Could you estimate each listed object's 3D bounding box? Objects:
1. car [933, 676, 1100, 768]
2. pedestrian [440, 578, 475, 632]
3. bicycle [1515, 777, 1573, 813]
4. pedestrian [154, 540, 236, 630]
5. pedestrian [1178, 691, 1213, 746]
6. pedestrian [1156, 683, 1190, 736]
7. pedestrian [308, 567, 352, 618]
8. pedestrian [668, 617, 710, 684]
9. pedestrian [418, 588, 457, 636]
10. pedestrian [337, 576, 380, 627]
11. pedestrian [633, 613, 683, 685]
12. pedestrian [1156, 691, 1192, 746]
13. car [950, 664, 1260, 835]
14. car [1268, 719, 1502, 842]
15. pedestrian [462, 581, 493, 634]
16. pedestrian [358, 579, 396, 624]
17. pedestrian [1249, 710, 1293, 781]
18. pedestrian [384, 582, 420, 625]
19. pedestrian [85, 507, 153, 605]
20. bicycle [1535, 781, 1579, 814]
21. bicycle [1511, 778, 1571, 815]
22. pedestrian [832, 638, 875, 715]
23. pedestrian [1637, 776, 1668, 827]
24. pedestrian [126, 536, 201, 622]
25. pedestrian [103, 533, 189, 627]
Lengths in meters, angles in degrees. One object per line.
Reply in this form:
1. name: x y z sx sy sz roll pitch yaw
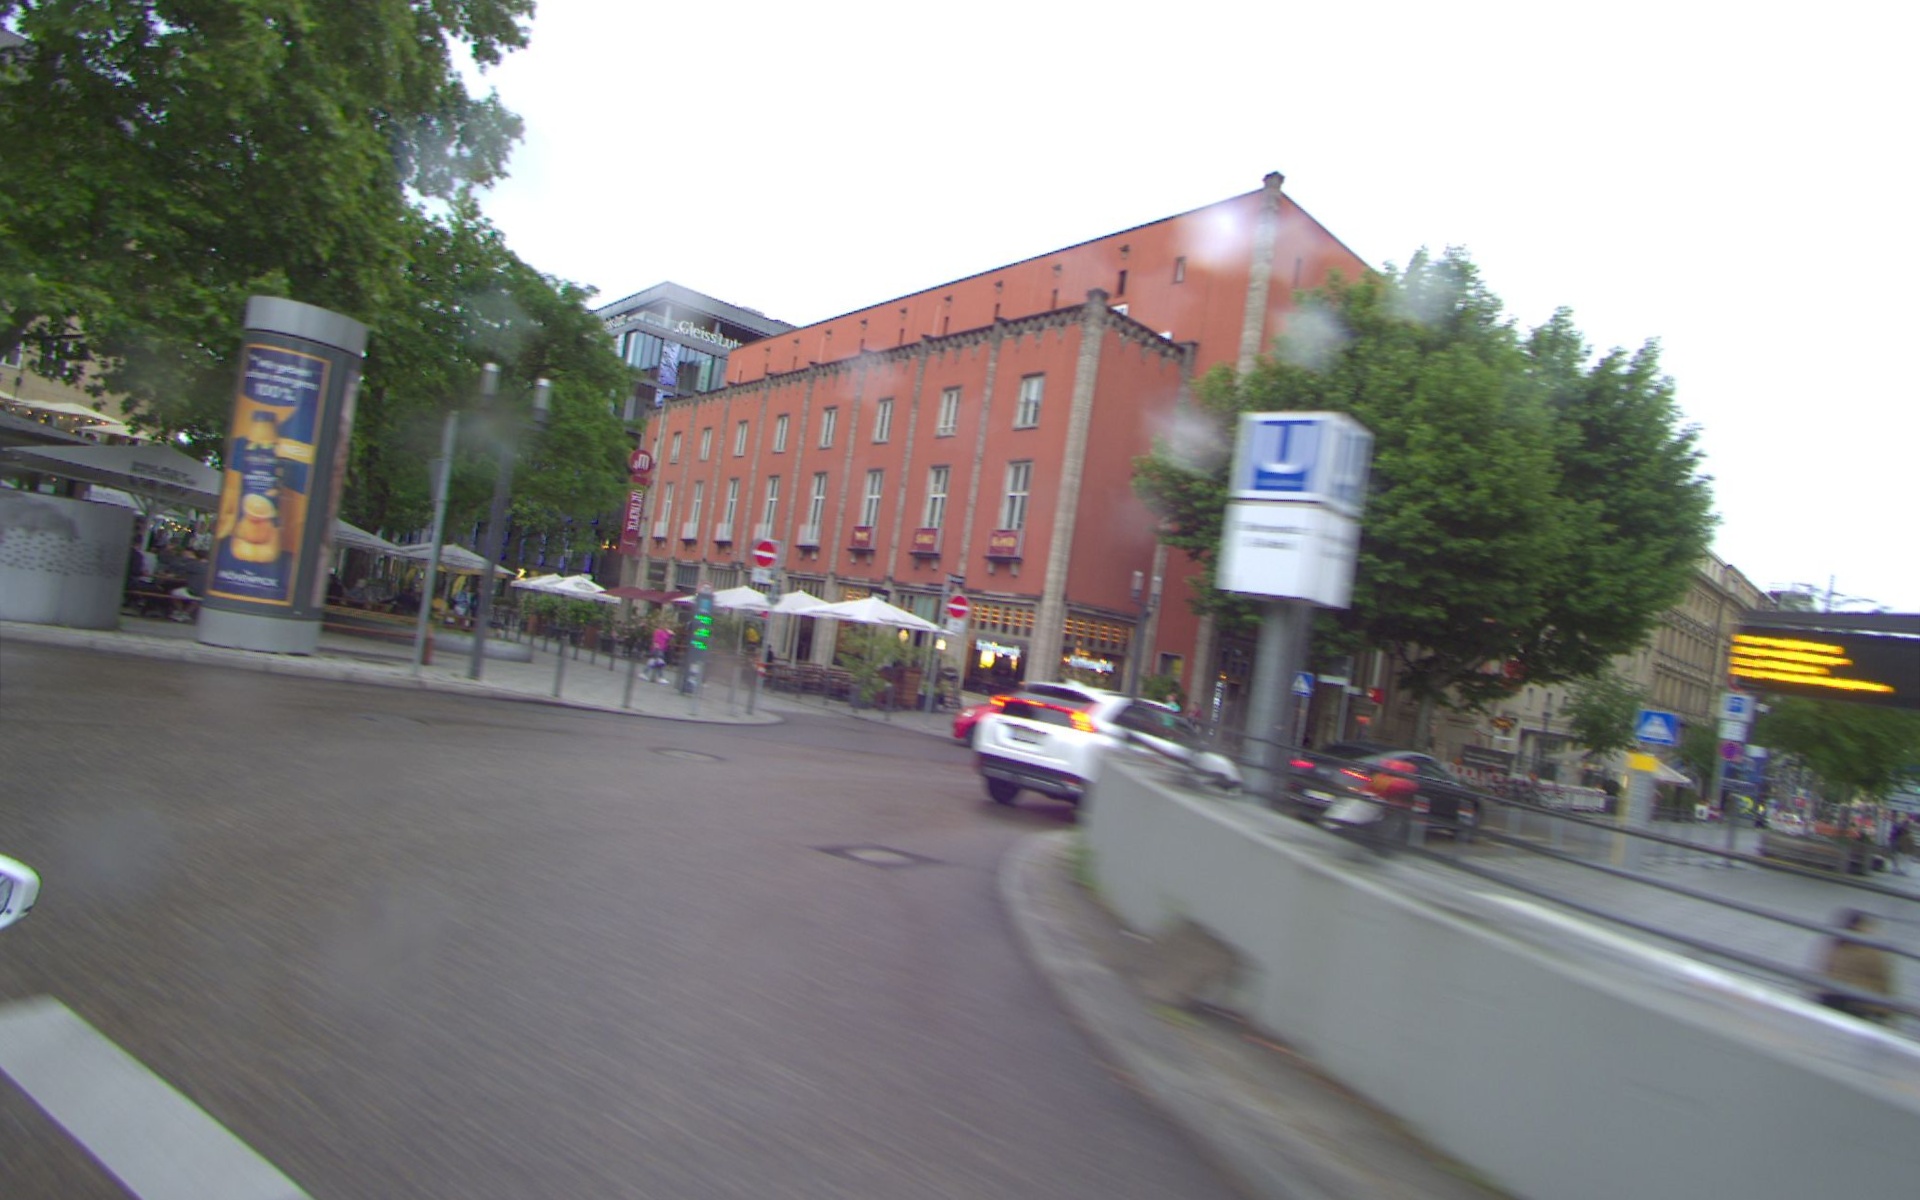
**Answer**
1. car: 1.294 2.709 22.631 3.462 1.431 1.617 9 -3 6
2. pedestrian: -18.369 0.183 36.809 0.744 1.851 0.602 11 -5 -42
3. bicycle: 22.053 7.367 37.988 0.520 0.995 1.735 11 -3 -43
4. pedestrian: -13.505 -0.266 17.761 0.890 1.424 0.687 6 -4 32
5. pedestrian: 7.512 3.788 32.064 0.602 1.614 0.751 6 -3 42
6. pedestrian: 6.890 3.545 32.548 0.602 1.614 0.751 6 -3 42
7. pedestrian: -17.313 -0.206 27.647 0.599 1.263 0.630 6 -4 31
8. pedestrian: -7.789 1.457 28.902 0.735 1.799 0.591 7 -3 38
9. pedestrian: -15.214 0.346 29.295 0.599 1.263 0.630 6 -4 31
10. pedestrian: -16.441 0.043 27.495 0.599 1.263 0.630 6 -4 31
11. pedestrian: -8.234 1.335 27.434 0.861 1.799 0.693 7 -3 38
12. pedestrian: 6.635 3.674 31.213 0.602 1.576 0.751 6 -3 42
13. car: 2.056 2.045 13.360 1.840 1.636 4.095 5 -7 45
14. car: 8.030 3.414 18.791 4.721 1.709 1.982 12 -3 -40
15. pedestrian: -17.914 0.266 37.331 0.627 1.851 0.602 11 -5 -43
16. pedestrian: -18.121 0.050 31.260 0.599 1.263 0.630 6 -4 31
17. pedestrian: 8.630 4.041 27.912 0.795 1.828 0.609 7 -3 35
18. pedestrian: -17.923 0.122 32.333 0.599 1.263 0.630 6 -4 31
19. pedestrian: -15.809 -0.809 18.933 0.717 1.721 0.613 8 -1 -32
20. bicycle: 22.635 7.480 38.156 0.456 0.995 1.269 11 -3 -43
21. bicycle: 21.353 7.231 36.992 0.520 0.995 1.735 11 -3 -43
22. pedestrian: -2.889 2.074 27.336 0.621 1.954 0.781 9 -2 -33
23. pedestrian: 29.561 8.588 42.911 0.767 2.035 0.778 7 -3 45
24. pedestrian: -14.404 -0.377 18.192 0.649 1.424 0.687 6 -4 31
25. pedestrian: -13.848 -0.339 17.123 0.890 1.424 0.687 6 -4 32
